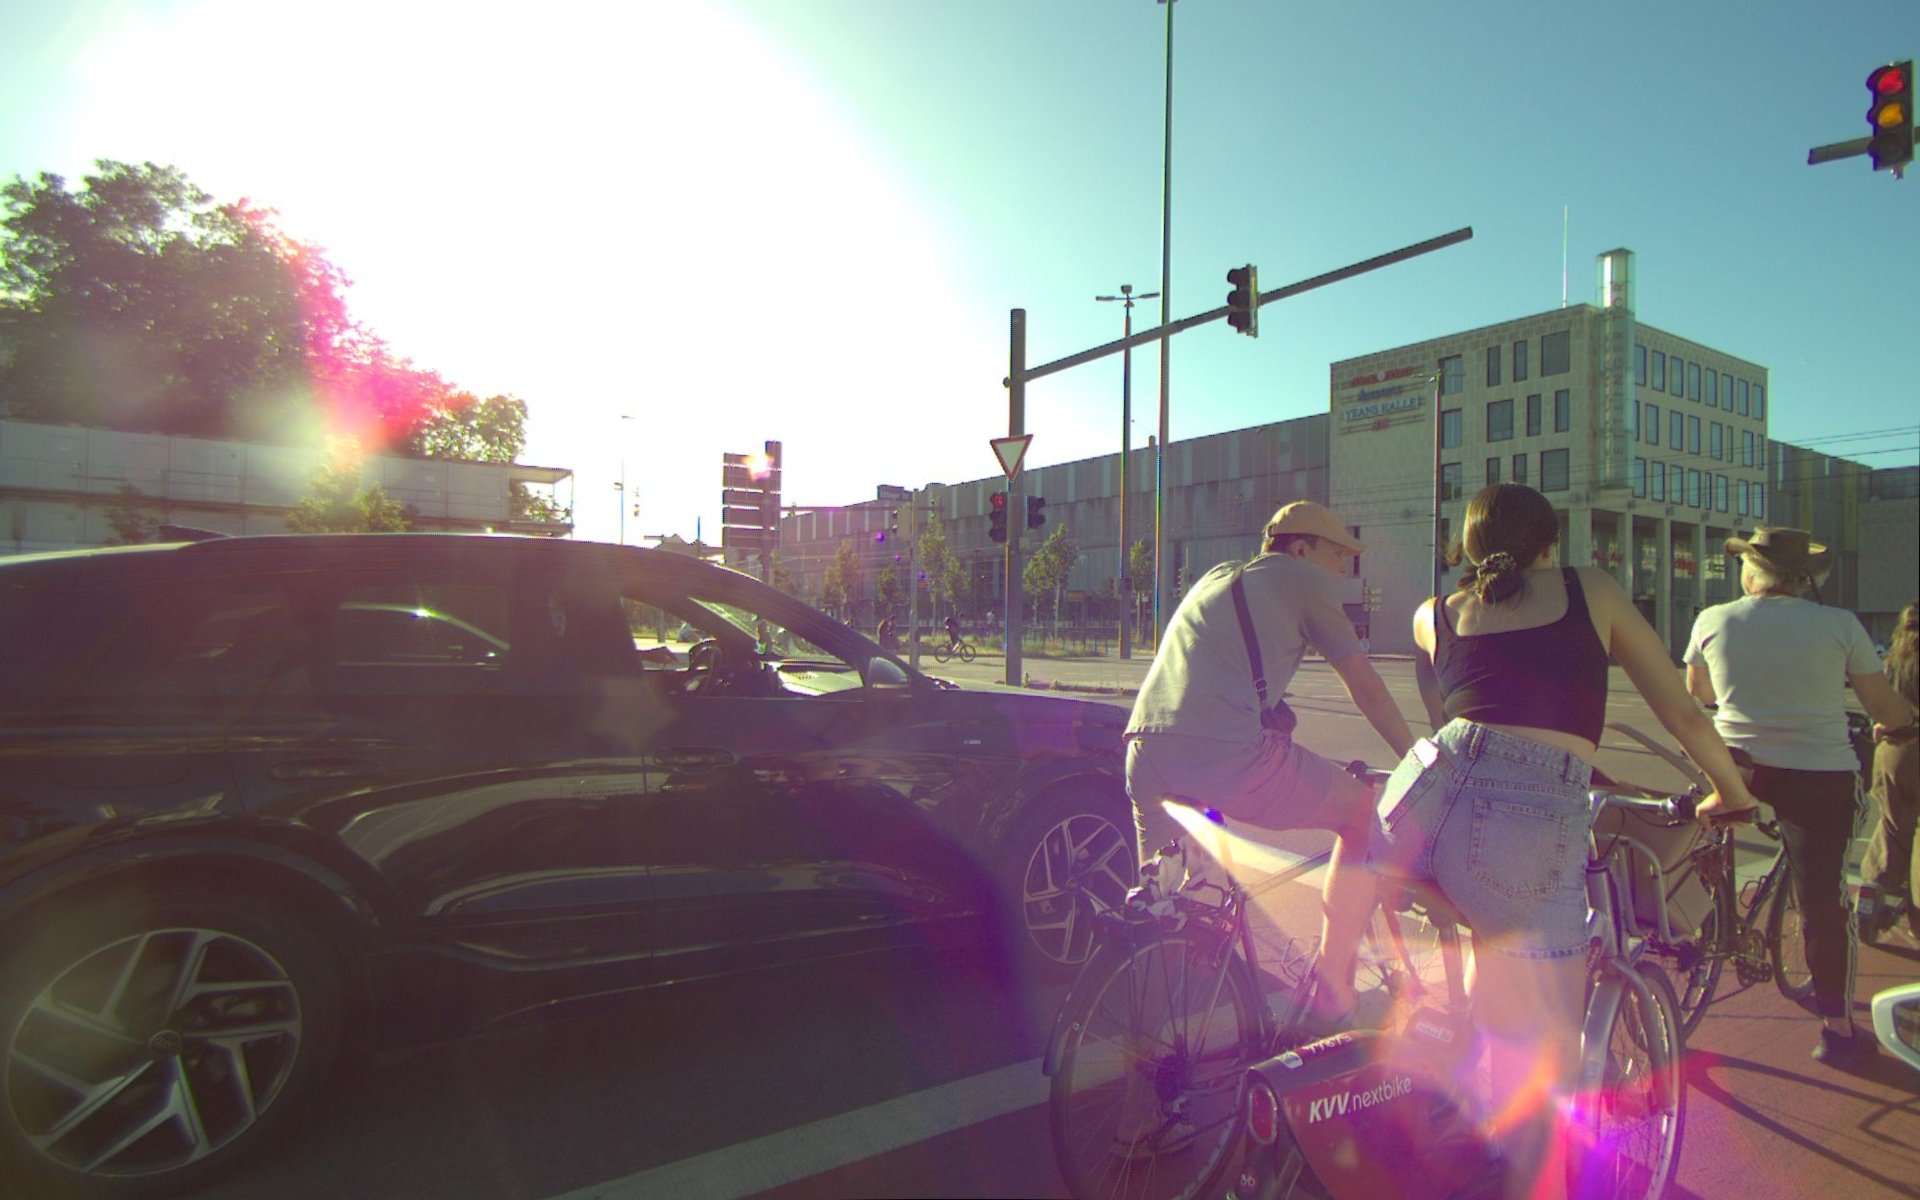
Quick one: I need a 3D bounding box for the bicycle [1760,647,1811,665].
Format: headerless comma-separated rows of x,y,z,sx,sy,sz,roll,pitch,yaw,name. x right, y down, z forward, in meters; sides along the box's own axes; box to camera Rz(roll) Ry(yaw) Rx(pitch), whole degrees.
53.186,3.605,64.721,0.675,1.125,2.458,1,-2,-28,bicycle

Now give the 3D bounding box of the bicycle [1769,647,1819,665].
55.455,3.690,66.802,0.824,1.125,2.458,1,-2,-28,bicycle

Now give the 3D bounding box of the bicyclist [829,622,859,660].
-4.338,1.527,37.550,0.833,1.375,0.798,0,0,-35,bicyclist

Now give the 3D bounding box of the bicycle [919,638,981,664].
-0.368,1.947,38.614,2.368,0.953,0.750,1,-1,-32,bicycle

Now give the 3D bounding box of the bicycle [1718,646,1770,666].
48.009,3.430,61.512,0.675,1.125,2.459,1,-2,-27,bicycle

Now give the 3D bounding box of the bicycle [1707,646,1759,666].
46.828,3.402,60.862,0.676,1.125,2.457,1,-2,-29,bicycle

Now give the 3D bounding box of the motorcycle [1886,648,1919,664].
70.684,4.176,74.641,0.908,1.009,2.649,2,0,-36,motorcycle

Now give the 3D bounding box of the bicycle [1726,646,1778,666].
48.742,3.440,61.837,0.675,1.125,2.458,1,-2,-28,bicycle

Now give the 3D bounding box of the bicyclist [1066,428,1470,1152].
0.831,0.430,2.721,0.884,1.596,0.620,1,-1,-31,bicyclist

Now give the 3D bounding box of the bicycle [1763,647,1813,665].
54.437,3.655,66.089,0.675,1.125,2.458,1,-2,-28,bicycle

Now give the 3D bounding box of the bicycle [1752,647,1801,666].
51.988,3.572,63.985,0.531,1.125,2.458,1,-2,-28,bicycle

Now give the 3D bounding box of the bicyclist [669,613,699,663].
-7.932,1.079,28.883,0.829,1.420,0.803,0,0,-14,bicyclist

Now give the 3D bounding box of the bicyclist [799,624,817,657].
-5.969,1.579,39.526,0.627,1.287,0.803,0,0,-14,bicyclist

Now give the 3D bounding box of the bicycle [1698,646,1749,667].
45.695,3.375,60.161,0.650,1.127,2.391,1,-2,-29,bicycle

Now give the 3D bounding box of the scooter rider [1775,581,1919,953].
4.415,0.713,4.681,1.105,1.564,0.638,1,0,-33,scooter rider

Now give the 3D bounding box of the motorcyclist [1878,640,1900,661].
67.618,3.672,73.123,0.908,1.490,1.029,2,0,-37,motorcyclist

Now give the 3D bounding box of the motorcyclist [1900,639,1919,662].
70.719,3.745,74.627,0.908,1.596,1.129,2,0,-37,motorcyclist

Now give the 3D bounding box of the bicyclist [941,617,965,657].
-0.283,1.434,38.670,0.610,1.525,0.750,1,-1,-31,bicyclist

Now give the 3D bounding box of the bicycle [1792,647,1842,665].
58.358,3.791,68.415,0.824,1.125,2.458,1,-2,-28,bicycle

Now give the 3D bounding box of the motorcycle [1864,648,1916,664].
67.664,4.077,73.064,0.908,1.009,2.649,2,0,-36,motorcycle

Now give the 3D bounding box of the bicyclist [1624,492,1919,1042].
2.951,0.525,3.603,0.777,1.691,0.695,1,-1,-32,bicyclist

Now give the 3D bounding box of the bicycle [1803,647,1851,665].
59.650,3.829,69.149,0.652,1.125,2.458,1,-2,-28,bicycle

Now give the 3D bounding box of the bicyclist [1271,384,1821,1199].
1.178,0.458,2.052,0.837,1.563,0.647,1,-1,-31,bicyclist

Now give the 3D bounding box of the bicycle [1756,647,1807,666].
52.558,3.591,64.274,0.675,1.125,2.458,1,-2,-28,bicycle

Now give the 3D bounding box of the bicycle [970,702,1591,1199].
0.952,0.897,2.782,1.795,1.131,0.620,1,-1,-31,bicycle

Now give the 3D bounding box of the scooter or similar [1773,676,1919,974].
4.557,0.991,4.788,1.468,1.191,0.638,1,0,-33,scooter or similar

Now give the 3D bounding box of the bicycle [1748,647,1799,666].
51.521,3.555,63.648,0.586,1.125,2.458,1,-2,-28,bicycle

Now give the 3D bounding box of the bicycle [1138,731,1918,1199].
1.264,0.901,2.105,1.780,1.108,0.647,1,-1,-32,bicycle

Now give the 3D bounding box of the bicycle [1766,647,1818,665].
53.895,3.626,65.112,0.824,1.125,2.458,1,-2,-28,bicycle

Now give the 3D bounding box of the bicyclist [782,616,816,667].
-5.066,1.299,31.626,0.928,1.565,0.645,0,-1,-24,bicyclist

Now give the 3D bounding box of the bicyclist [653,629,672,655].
-15.440,2.183,52.112,0.797,1.315,0.769,0,0,-33,bicyclist
